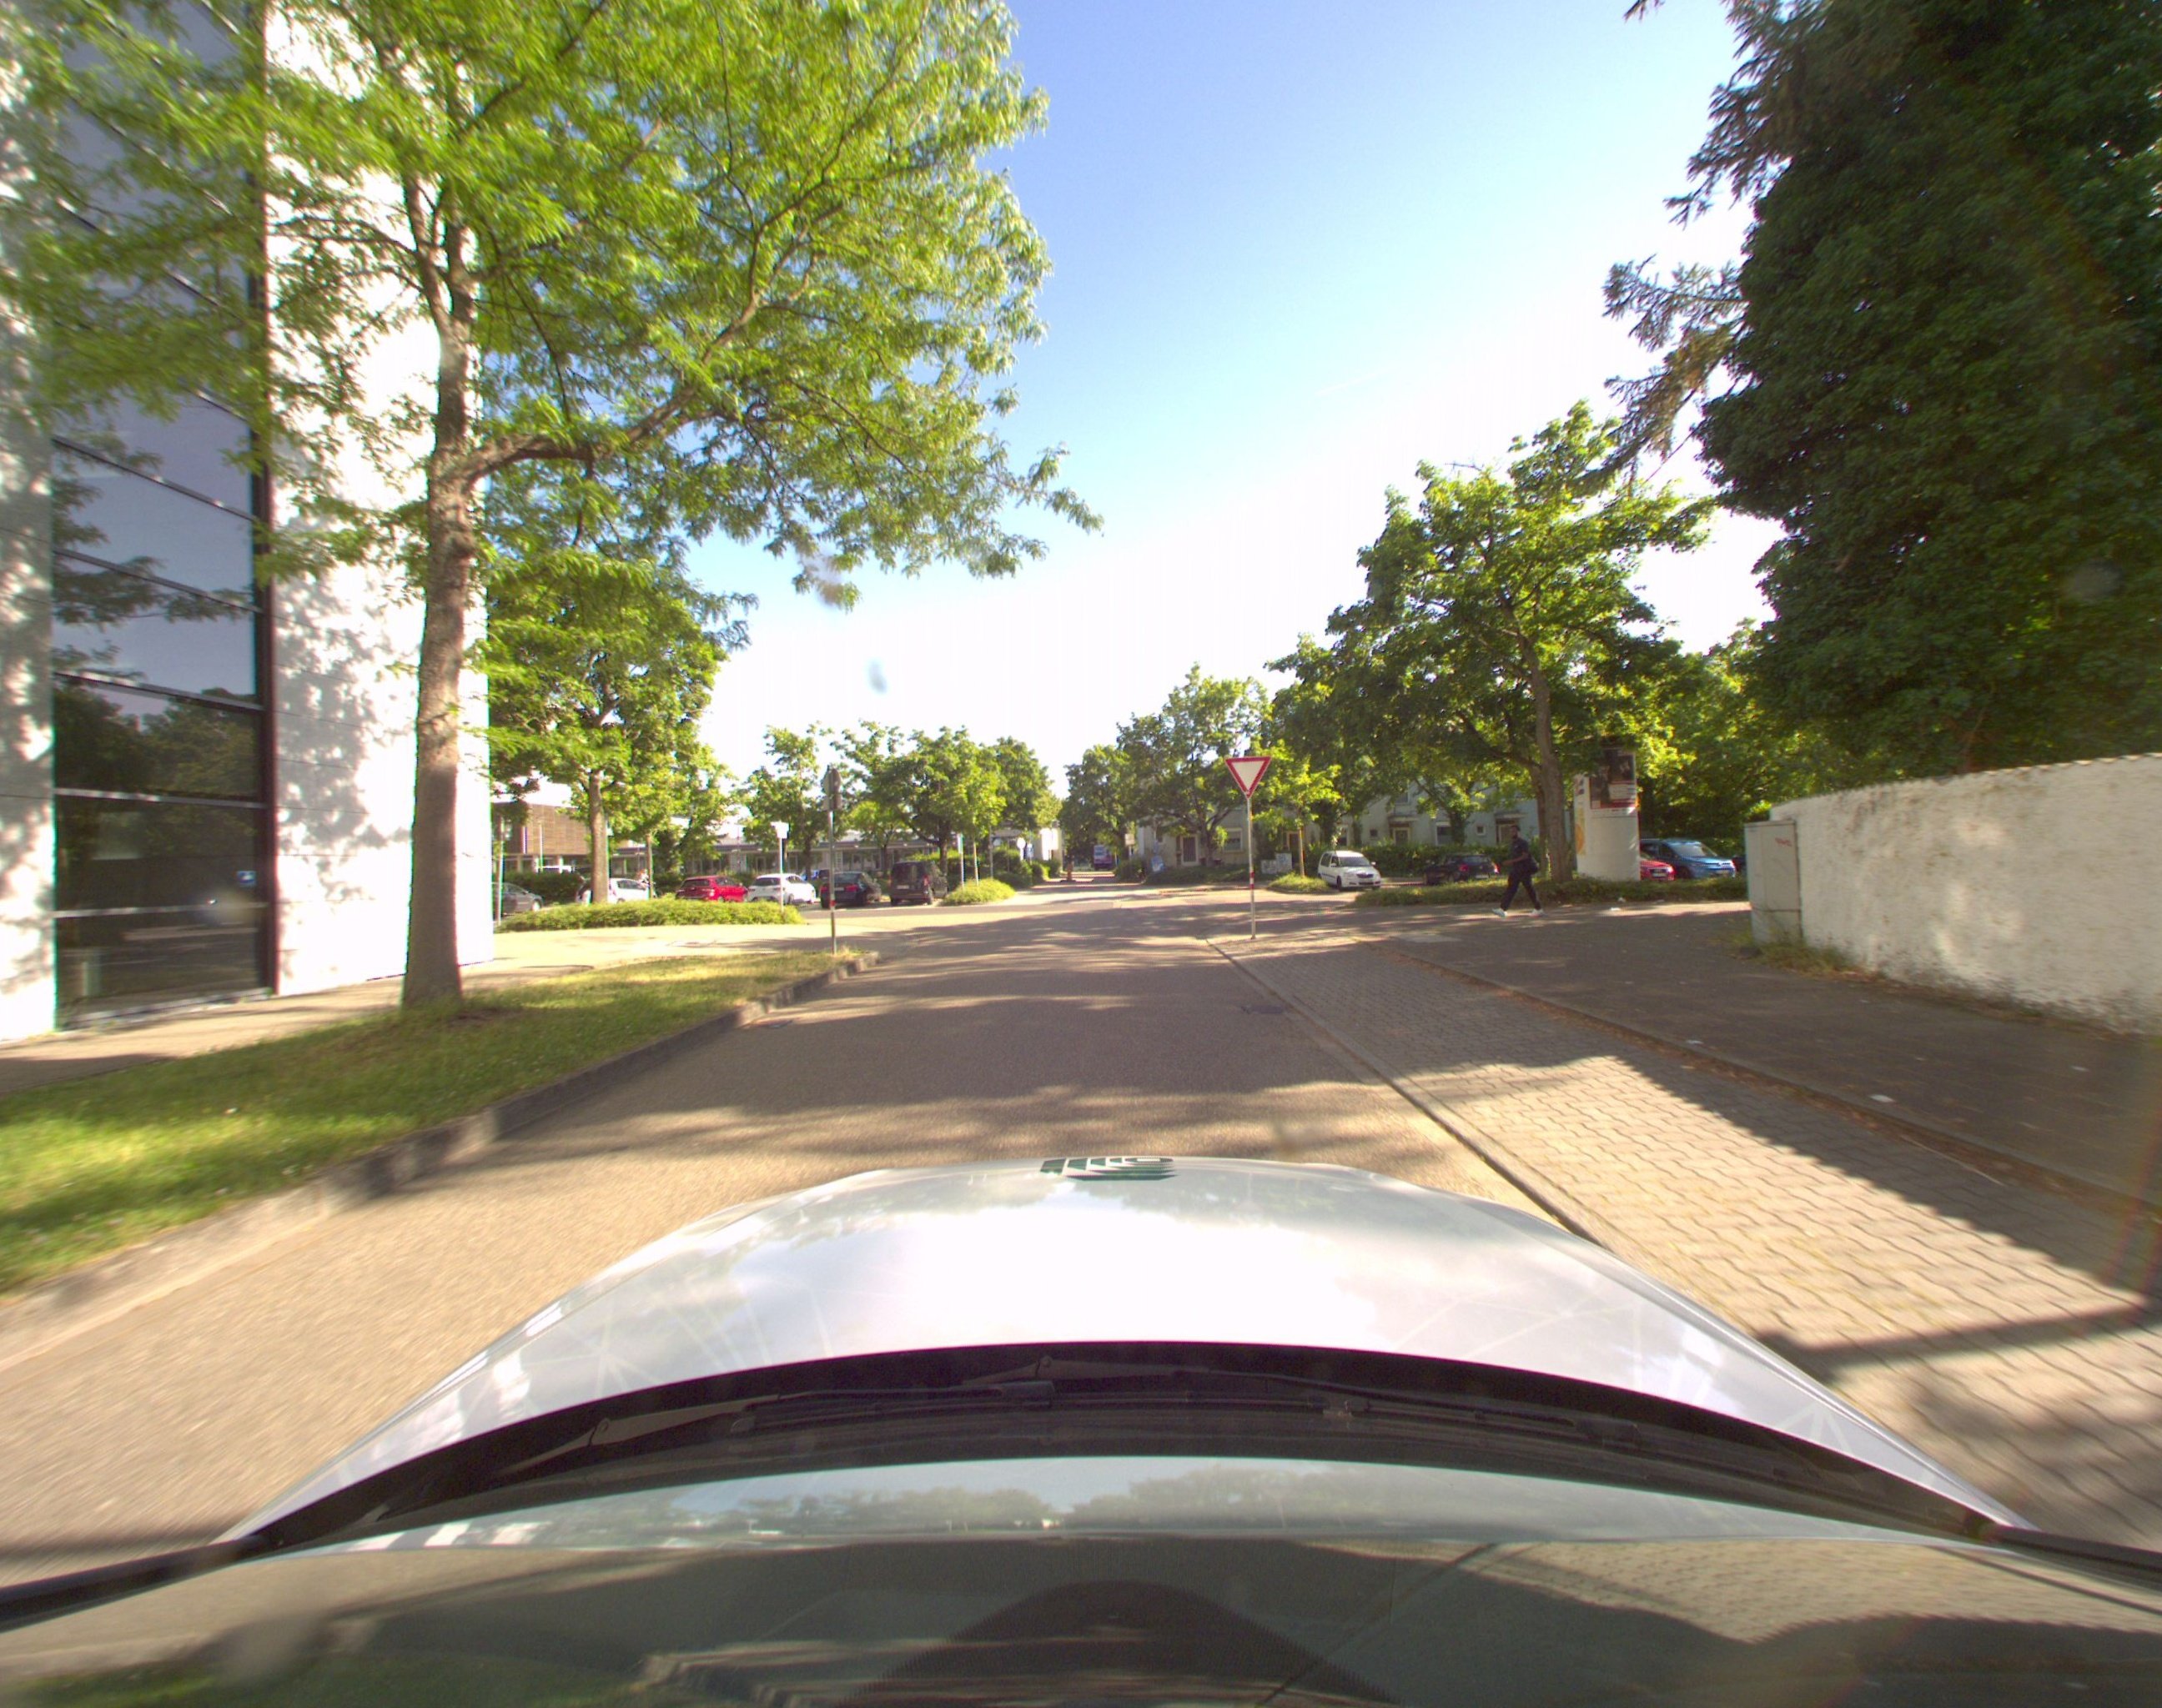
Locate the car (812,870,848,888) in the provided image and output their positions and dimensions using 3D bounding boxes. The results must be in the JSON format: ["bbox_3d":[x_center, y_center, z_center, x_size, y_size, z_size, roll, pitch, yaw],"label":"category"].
[{"bbox_3d":[-22.828,2.274,74.318,1.828,1.497,3.911,-2,0,3],"label":"car"}]

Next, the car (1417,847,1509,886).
[{"bbox_3d":[15.815,0.475,33.948,1.817,1.406,4.168,-2,1,0],"label":"car"}]

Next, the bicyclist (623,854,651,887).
[{"bbox_3d":[-21.198,0.783,38.917,1.009,1.523,0.595,-1,-1,-3],"label":"bicyclist"}]

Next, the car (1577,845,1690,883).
[{"bbox_3d":[22.772,0.358,33.757,1.817,1.406,4.168,-2,1,0],"label":"car"}]

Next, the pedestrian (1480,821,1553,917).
[{"bbox_3d":[7.978,0.265,14.922,0.809,1.684,0.830,-2,0,-29],"label":"pedestrian"}]

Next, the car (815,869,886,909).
[{"bbox_3d":[-9.719,1.435,34.662,1.817,1.406,4.168,-2,1,0],"label":"car"}]

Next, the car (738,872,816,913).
[{"bbox_3d":[-12.784,1.567,34.462,1.797,1.436,3.911,-2,1,0],"label":"car"}]

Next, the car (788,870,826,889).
[{"bbox_3d":[-24.943,2.307,74.247,1.828,1.497,3.911,-2,0,3],"label":"car"}]

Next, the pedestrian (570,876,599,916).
[{"bbox_3d":[-20.180,1.702,33.073,0.665,1.579,0.771,-1,-1,30],"label":"pedestrian"}]

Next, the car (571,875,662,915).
[{"bbox_3d":[-20.119,1.739,35.467,1.669,1.578,3.911,-1,0,0],"label":"car"}]

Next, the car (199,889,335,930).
[{"bbox_3d":[-34.320,2.296,34.480,1.828,1.416,3.748,-2,0,3],"label":"car"}]

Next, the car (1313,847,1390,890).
[{"bbox_3d":[11.283,0.557,34.245,1.817,1.598,4.167,-2,1,0],"label":"car"}]

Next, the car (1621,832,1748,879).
[{"bbox_3d":[25.127,0.036,34.127,1.817,1.772,4.664,-2,1,0],"label":"car"}]

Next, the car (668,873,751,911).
[{"bbox_3d":[-15.584,1.560,34.373,1.662,1.426,3.911,-1,0,0],"label":"car"}]

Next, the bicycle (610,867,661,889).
[{"bbox_3d":[-21.265,1.126,38.916,2.076,0.996,0.596,-1,-1,-2],"label":"bicycle"}]

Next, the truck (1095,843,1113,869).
[{"bbox_3d":[3.673,0.296,129.192,2.749,3.869,9.333,-1,0,2],"label":"truck"}]

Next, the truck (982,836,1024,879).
[{"bbox_3d":[-7.200,0.355,75.729,2.790,3.807,6.930,-1,0,3],"label":"truck"}]

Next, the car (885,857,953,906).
[{"bbox_3d":[-6.798,1.106,34.583,1.867,1.846,4.170,-2,1,2],"label":"car"}]
